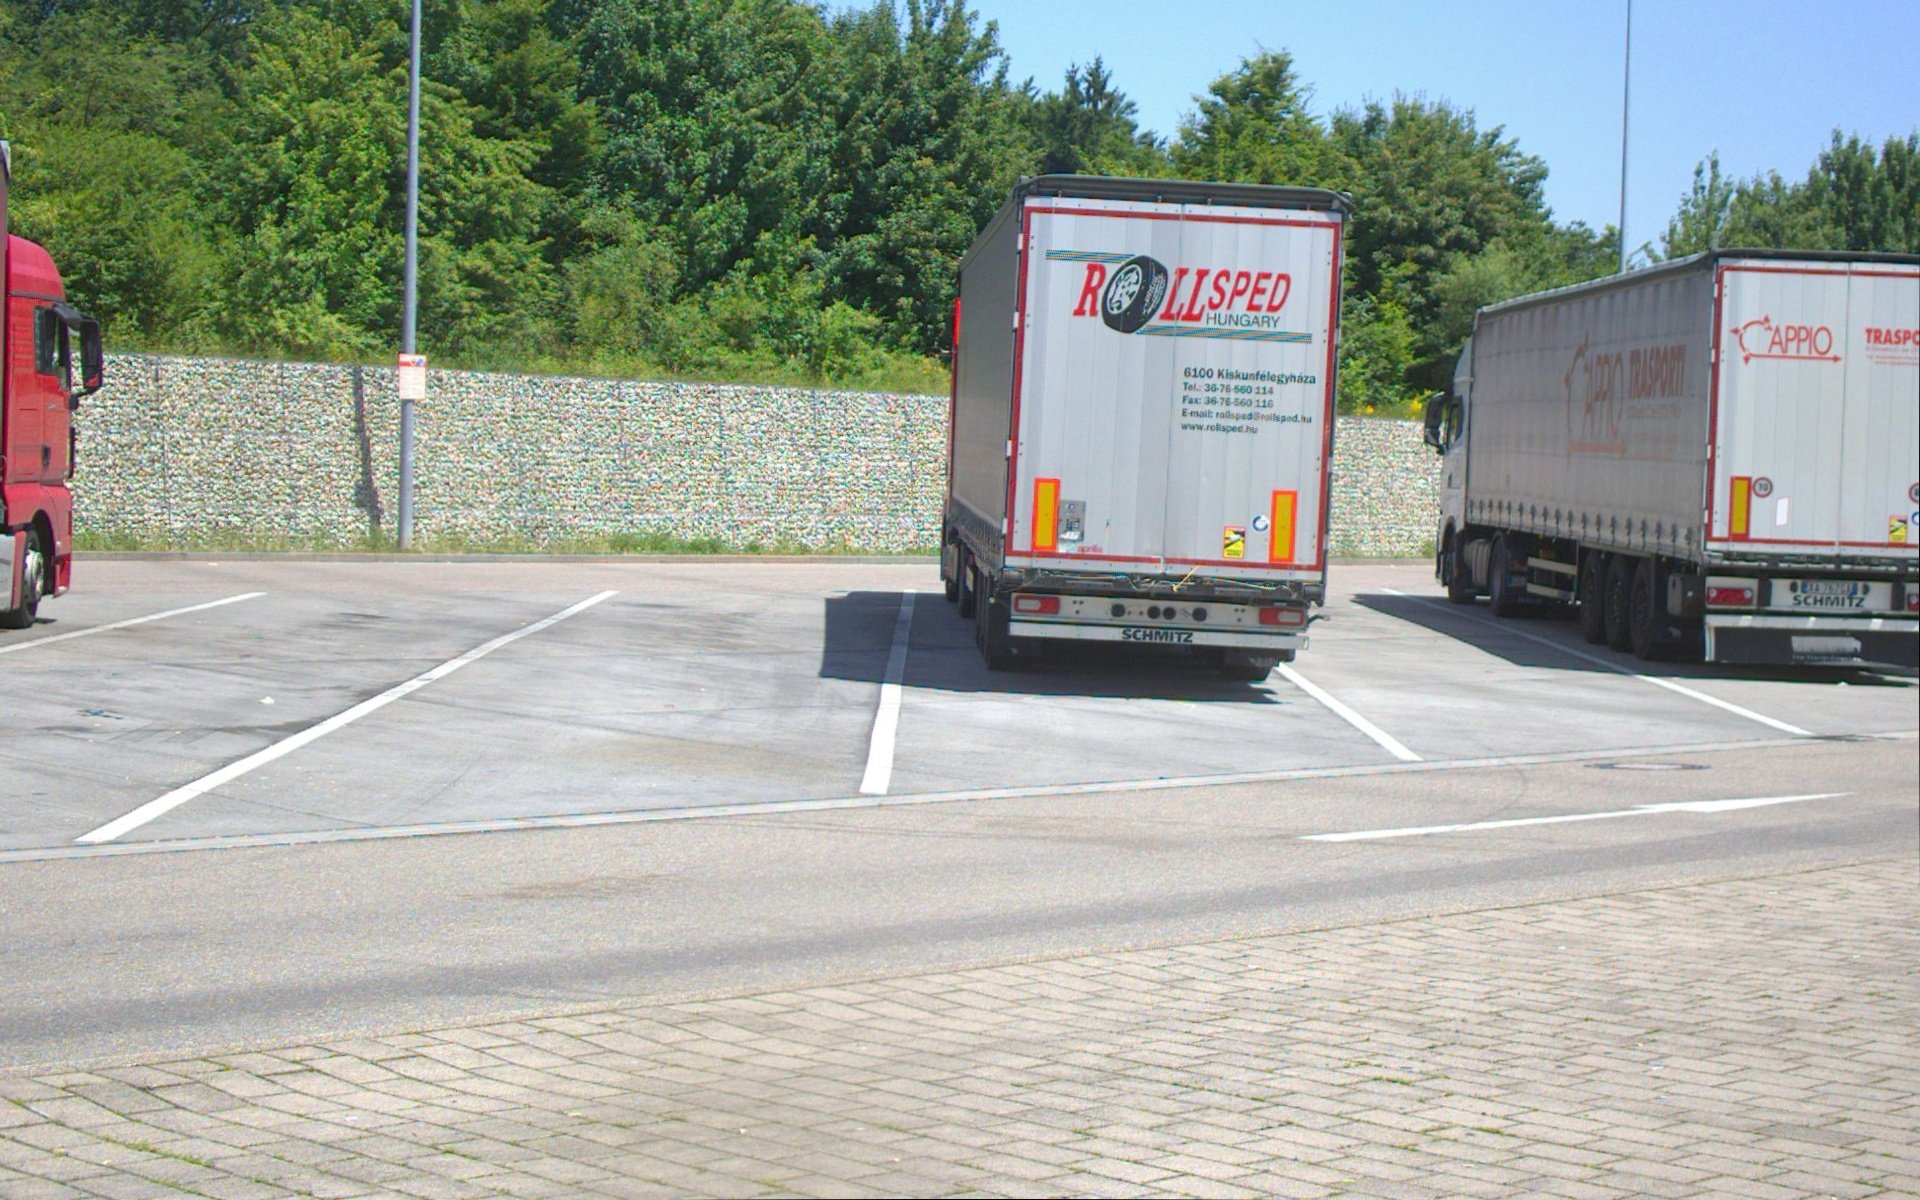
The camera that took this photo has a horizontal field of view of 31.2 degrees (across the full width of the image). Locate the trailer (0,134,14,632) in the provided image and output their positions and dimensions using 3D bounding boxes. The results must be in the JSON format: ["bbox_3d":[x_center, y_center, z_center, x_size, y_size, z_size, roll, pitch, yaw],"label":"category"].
[{"bbox_3d":[-9.168,-1.474,21.382,2.821,4.057,13.765,2,3,-1],"label":"trailer"}]

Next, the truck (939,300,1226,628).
[{"bbox_3d":[1.272,-1.580,39.324,2.865,3.351,5.975,2,3,-1],"label":"truck"}]

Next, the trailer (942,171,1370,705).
[{"bbox_3d":[1.455,-1.574,33.122,2.858,3.958,13.765,2,3,-1],"label":"trailer"}]

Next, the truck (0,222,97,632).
[{"bbox_3d":[-9.256,-1.465,28.201,2.812,3.351,5.975,2,3,-1],"label":"truck"}]

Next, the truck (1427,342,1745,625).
[{"bbox_3d":[8.083,-1.574,45.142,2.865,3.351,5.975,2,3,-1],"label":"truck"}]

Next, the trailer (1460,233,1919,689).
[{"bbox_3d":[8.185,-1.593,38.376,2.858,4.095,13.765,2,3,-1],"label":"trailer"}]

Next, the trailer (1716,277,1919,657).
[{"bbox_3d":[11.782,-1.507,39.388,2.858,4.095,13.765,2,3,-1],"label":"trailer"}]
